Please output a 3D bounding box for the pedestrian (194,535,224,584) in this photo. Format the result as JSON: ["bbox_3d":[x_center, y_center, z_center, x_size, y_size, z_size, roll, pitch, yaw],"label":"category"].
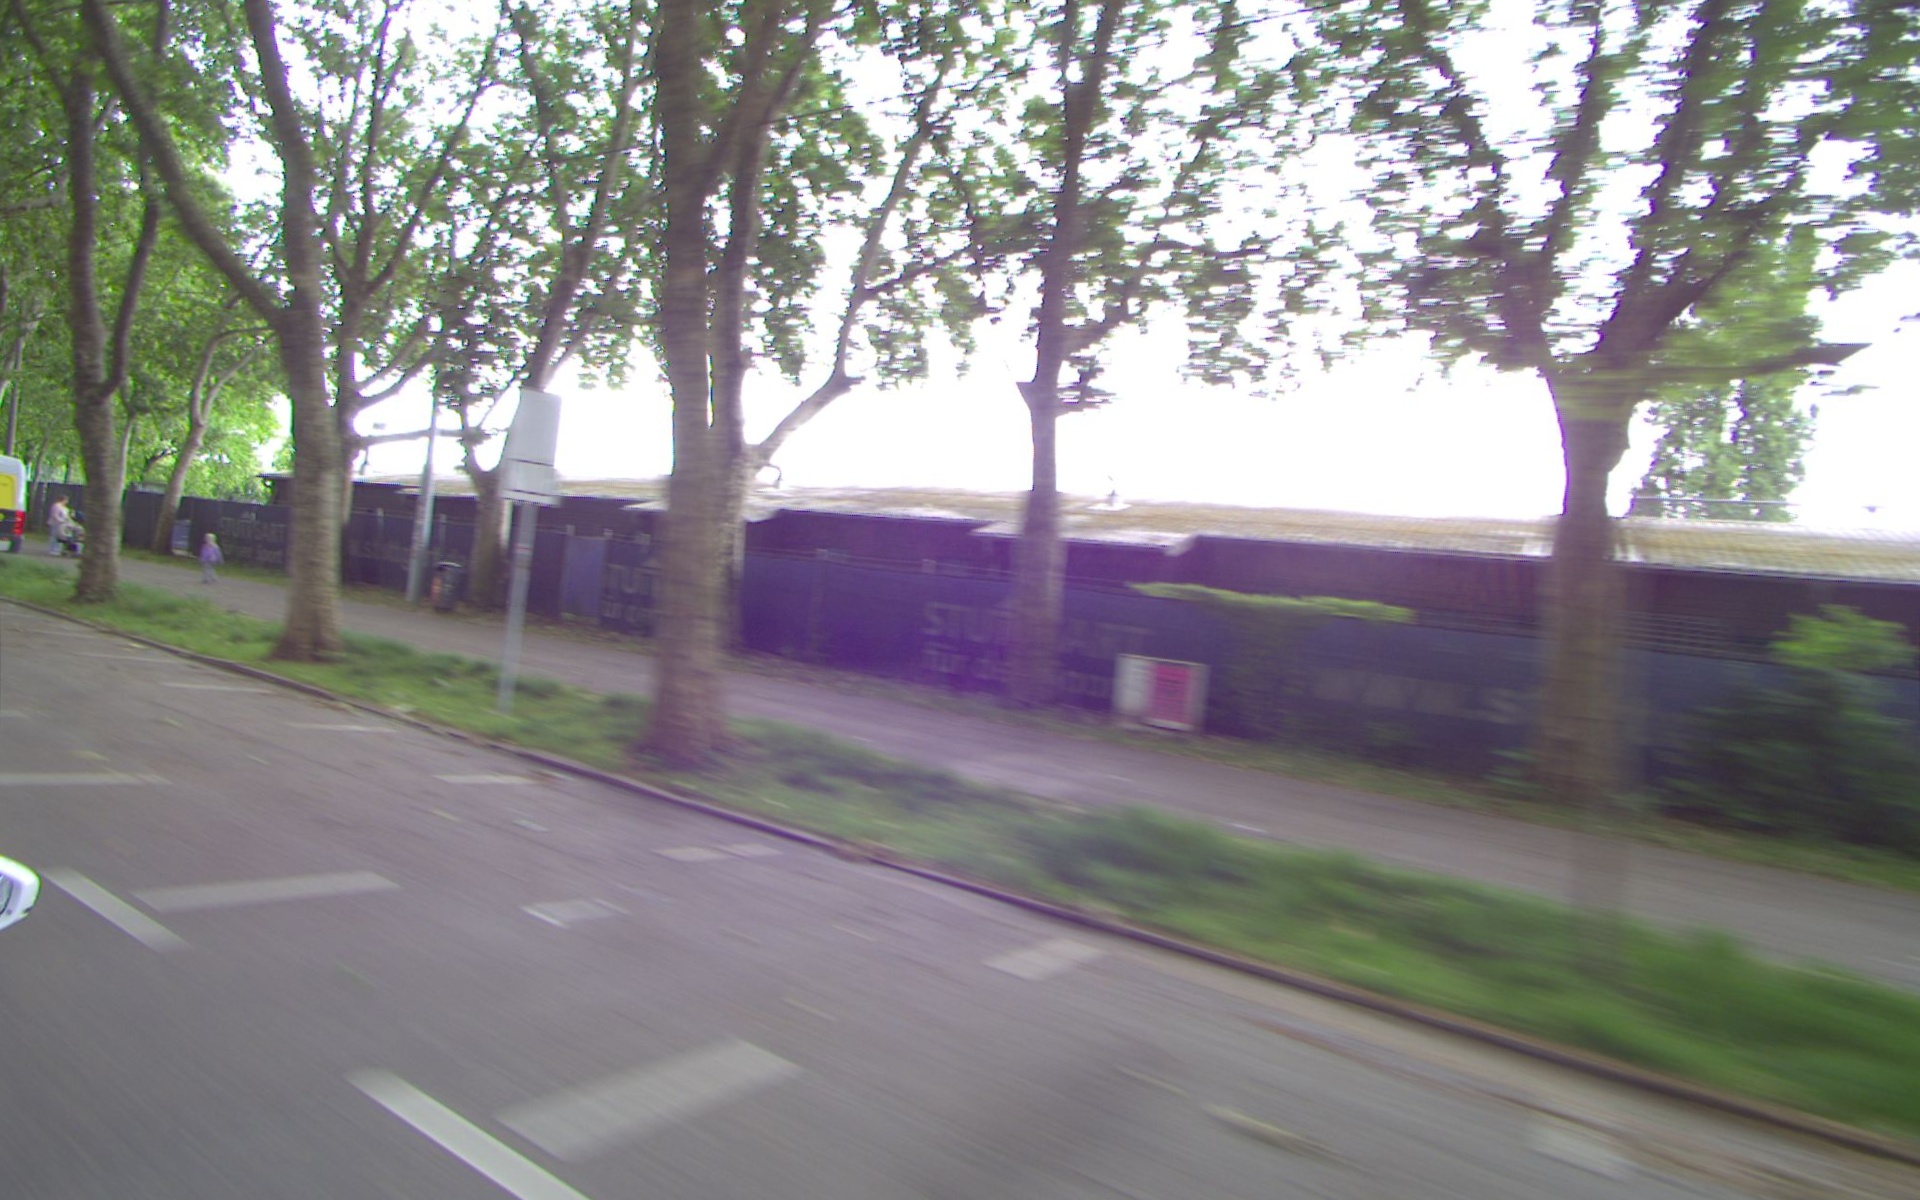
[{"bbox_3d":[-17.655,-0.942,23.646,0.412,1.098,0.395,6,2,35],"label":"pedestrian"}]

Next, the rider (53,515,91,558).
[{"bbox_3d":[-23.849,-1.693,27.021,0.579,1.062,0.592,7,3,35],"label":"rider"}]

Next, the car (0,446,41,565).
[{"bbox_3d":[-24.952,-2.640,21.831,2.093,2.726,6.893,6,-2,33],"label":"car"}]

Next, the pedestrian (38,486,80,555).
[{"bbox_3d":[-24.615,-2.163,27.472,0.611,1.764,0.639,7,2,35],"label":"pedestrian"}]

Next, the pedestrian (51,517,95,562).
[{"bbox_3d":[-23.887,-1.634,27.082,0.665,1.072,0.640,6,-1,33],"label":"pedestrian"}]

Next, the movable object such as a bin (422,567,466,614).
[{"bbox_3d":[-11.305,-0.211,22.050,0.663,0.972,0.568,6,4,31],"label":"movable object such as a bin"}]

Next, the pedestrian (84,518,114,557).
[{"bbox_3d":[-24.639,-1.791,28.797,0.390,1.047,0.418,7,-1,-8],"label":"pedestrian"}]

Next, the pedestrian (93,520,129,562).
[{"bbox_3d":[-23.513,-1.639,27.866,0.579,1.062,0.592,7,2,35],"label":"pedestrian"}]
